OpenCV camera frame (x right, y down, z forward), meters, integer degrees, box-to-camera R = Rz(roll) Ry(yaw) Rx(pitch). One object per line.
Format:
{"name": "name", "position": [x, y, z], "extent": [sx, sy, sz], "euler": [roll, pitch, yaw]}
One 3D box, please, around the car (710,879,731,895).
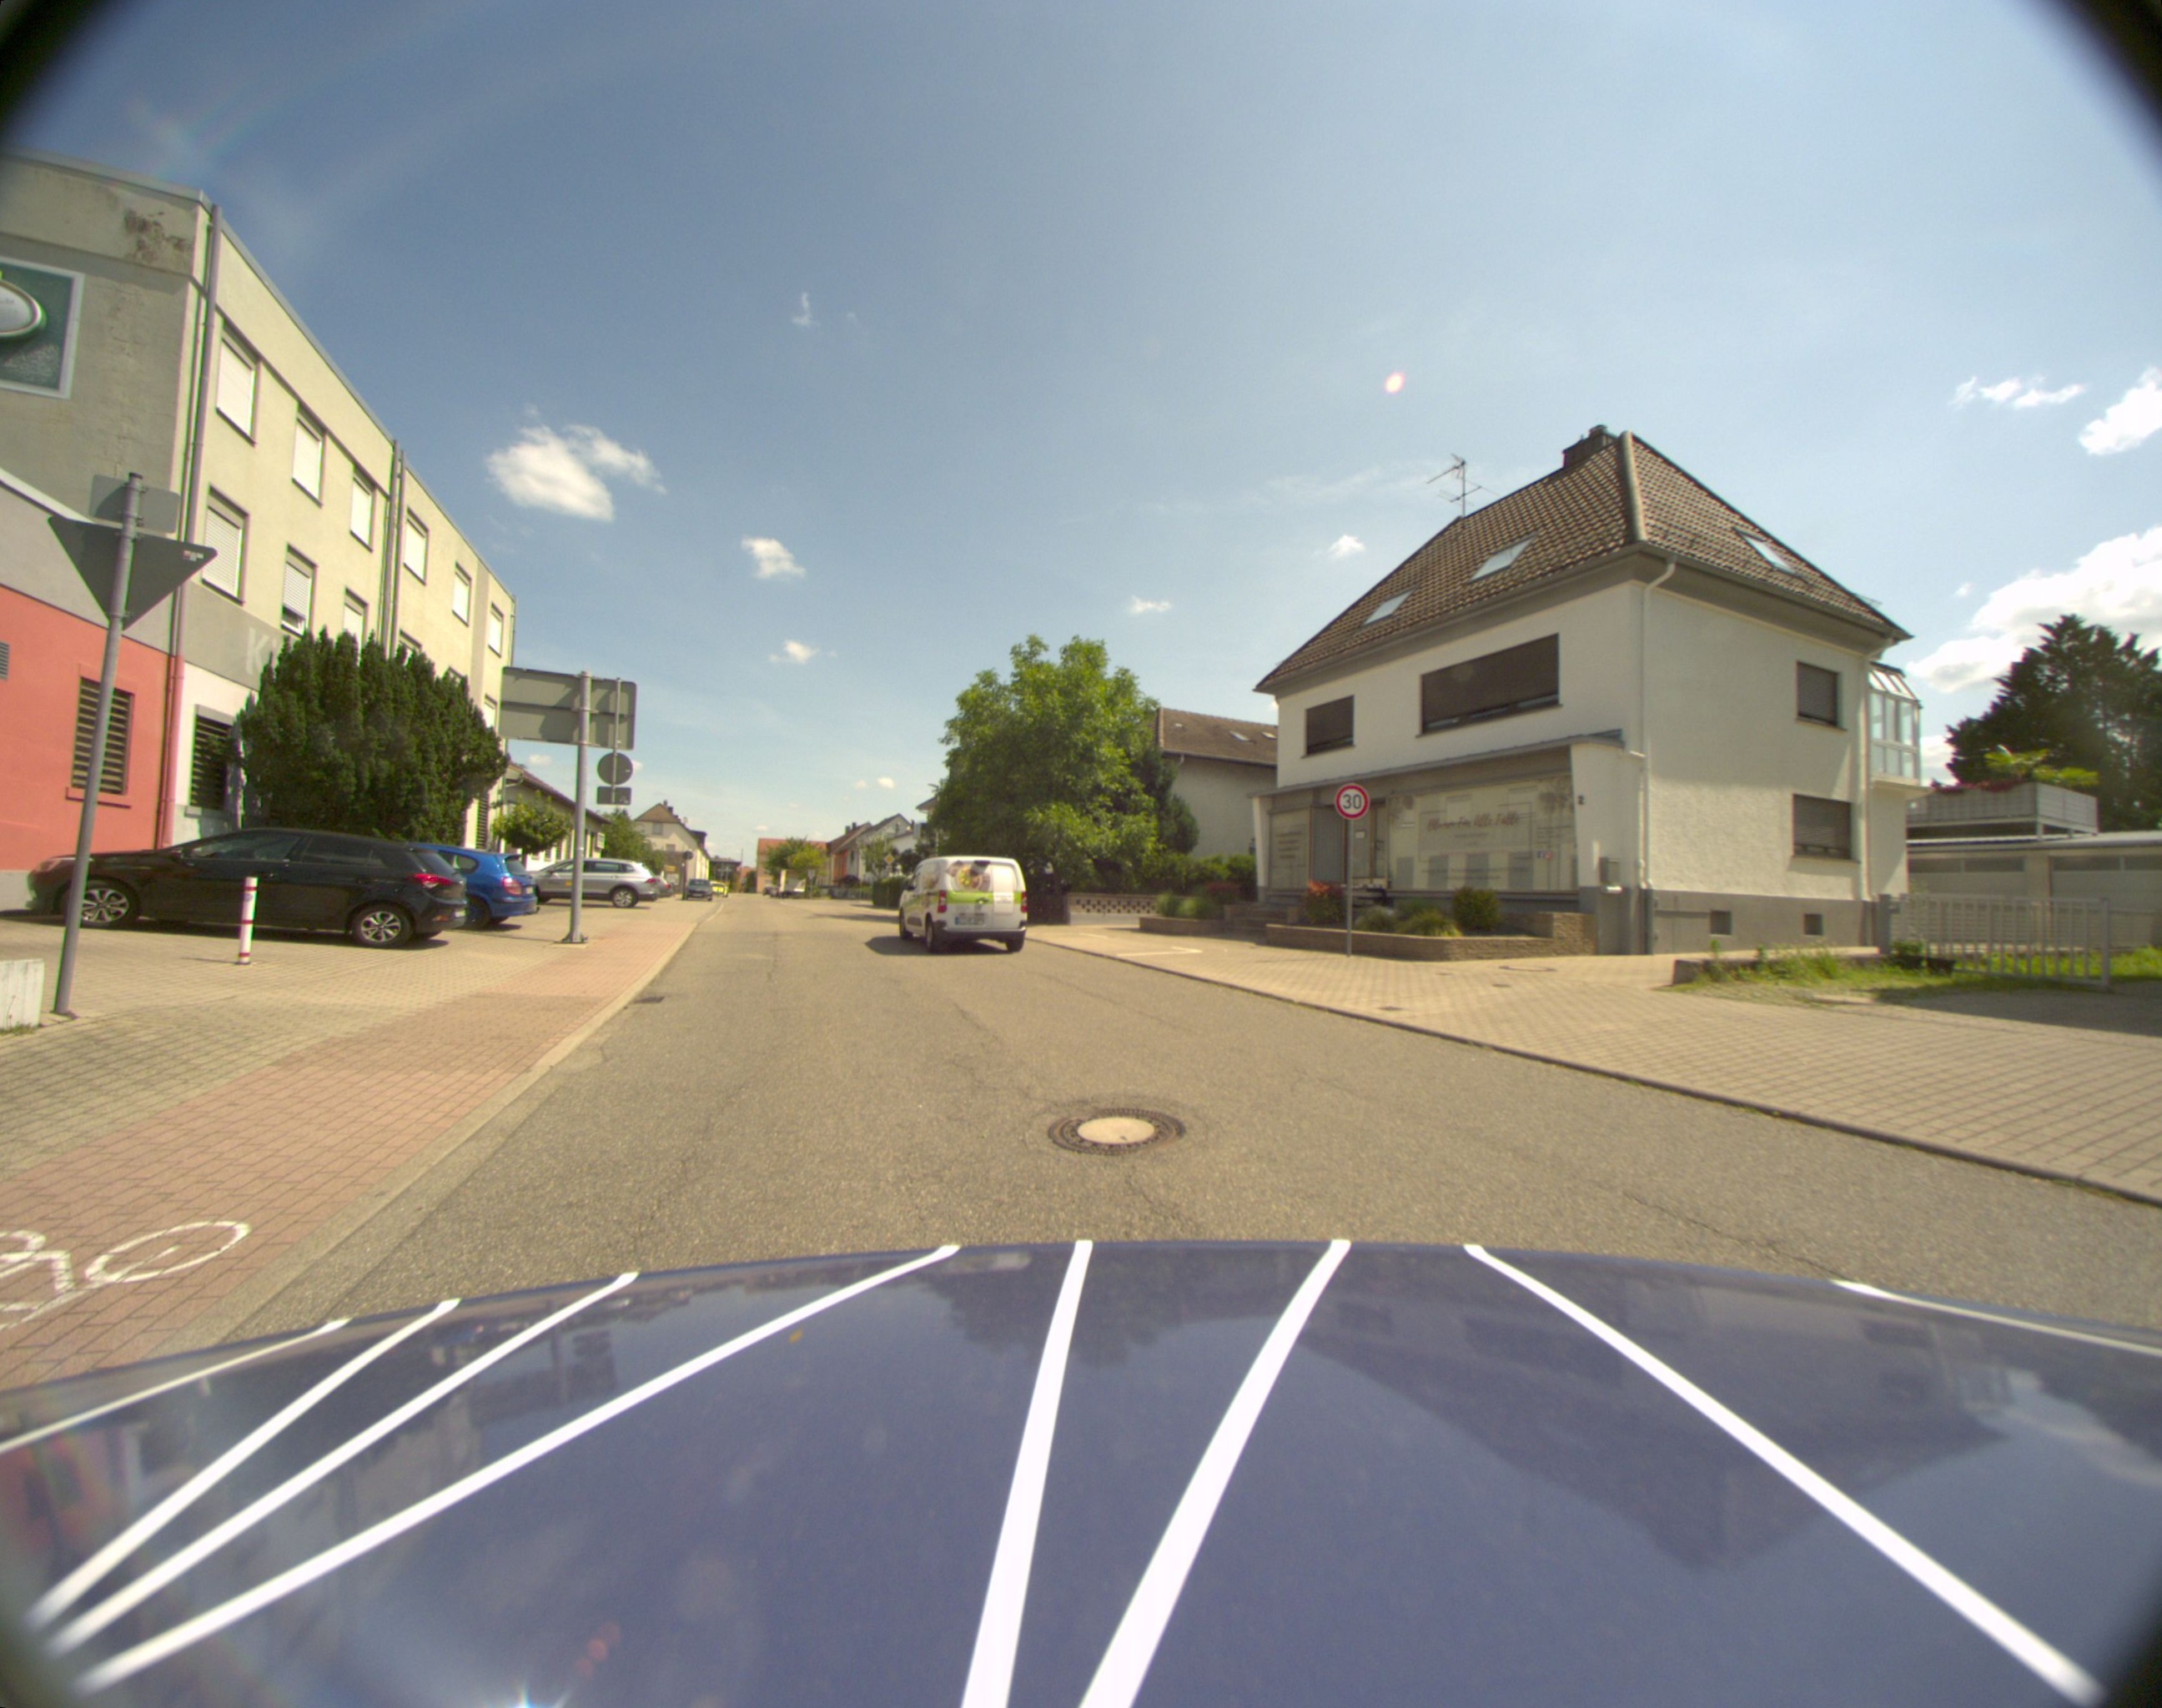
{"name": "car", "position": [-37.058, 3.386, 78.208], "extent": [1.725, 1.389, 4.208], "euler": [7, -5, -24]}

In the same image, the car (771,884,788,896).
{"name": "car", "position": [-41.278, 4.903, 104.045], "extent": [1.725, 1.490, 4.208], "euler": [5, -4, -25]}

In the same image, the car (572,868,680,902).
{"name": "car", "position": [-23.669, 1.634, 39.748], "extent": [4.548, 1.445, 1.915], "euler": [5, -4, -24]}

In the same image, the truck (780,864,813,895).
{"name": "truck", "position": [-32.120, 2.903, 85.735], "extent": [2.450, 3.225, 7.023], "euler": [7, -5, -26]}

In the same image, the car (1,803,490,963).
{"name": "car", "position": [-10.807, 0.456, 10.335], "extent": [3.916, 1.480, 1.806], "euler": [10, -5, -26]}

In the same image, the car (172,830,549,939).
{"name": "car", "position": [-12.175, 0.557, 13.294], "extent": [4.344, 1.430, 1.776], "euler": [7, -2, -25]}

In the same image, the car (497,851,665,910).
{"name": "car", "position": [-16.816, 0.950, 25.871], "extent": [4.475, 1.686, 1.919], "euler": [5, -4, -26]}

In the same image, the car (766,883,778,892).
{"name": "car", "position": [-53.574, 5.762, 131.666], "extent": [1.725, 1.490, 4.208], "euler": [5, -4, -25]}

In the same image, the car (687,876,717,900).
{"name": "car", "position": [-25.366, 2.248, 50.910], "extent": [1.635, 1.479, 4.132], "euler": [4, -4, -26]}

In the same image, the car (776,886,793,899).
{"name": "car", "position": [-38.327, 4.964, 98.227], "extent": [1.725, 1.490, 4.208], "euler": [5, -4, -25]}

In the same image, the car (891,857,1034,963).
{"name": "car", "position": [-2.614, 1.023, 15.717], "extent": [1.820, 1.844, 4.551], "euler": [1, -1, -23]}
